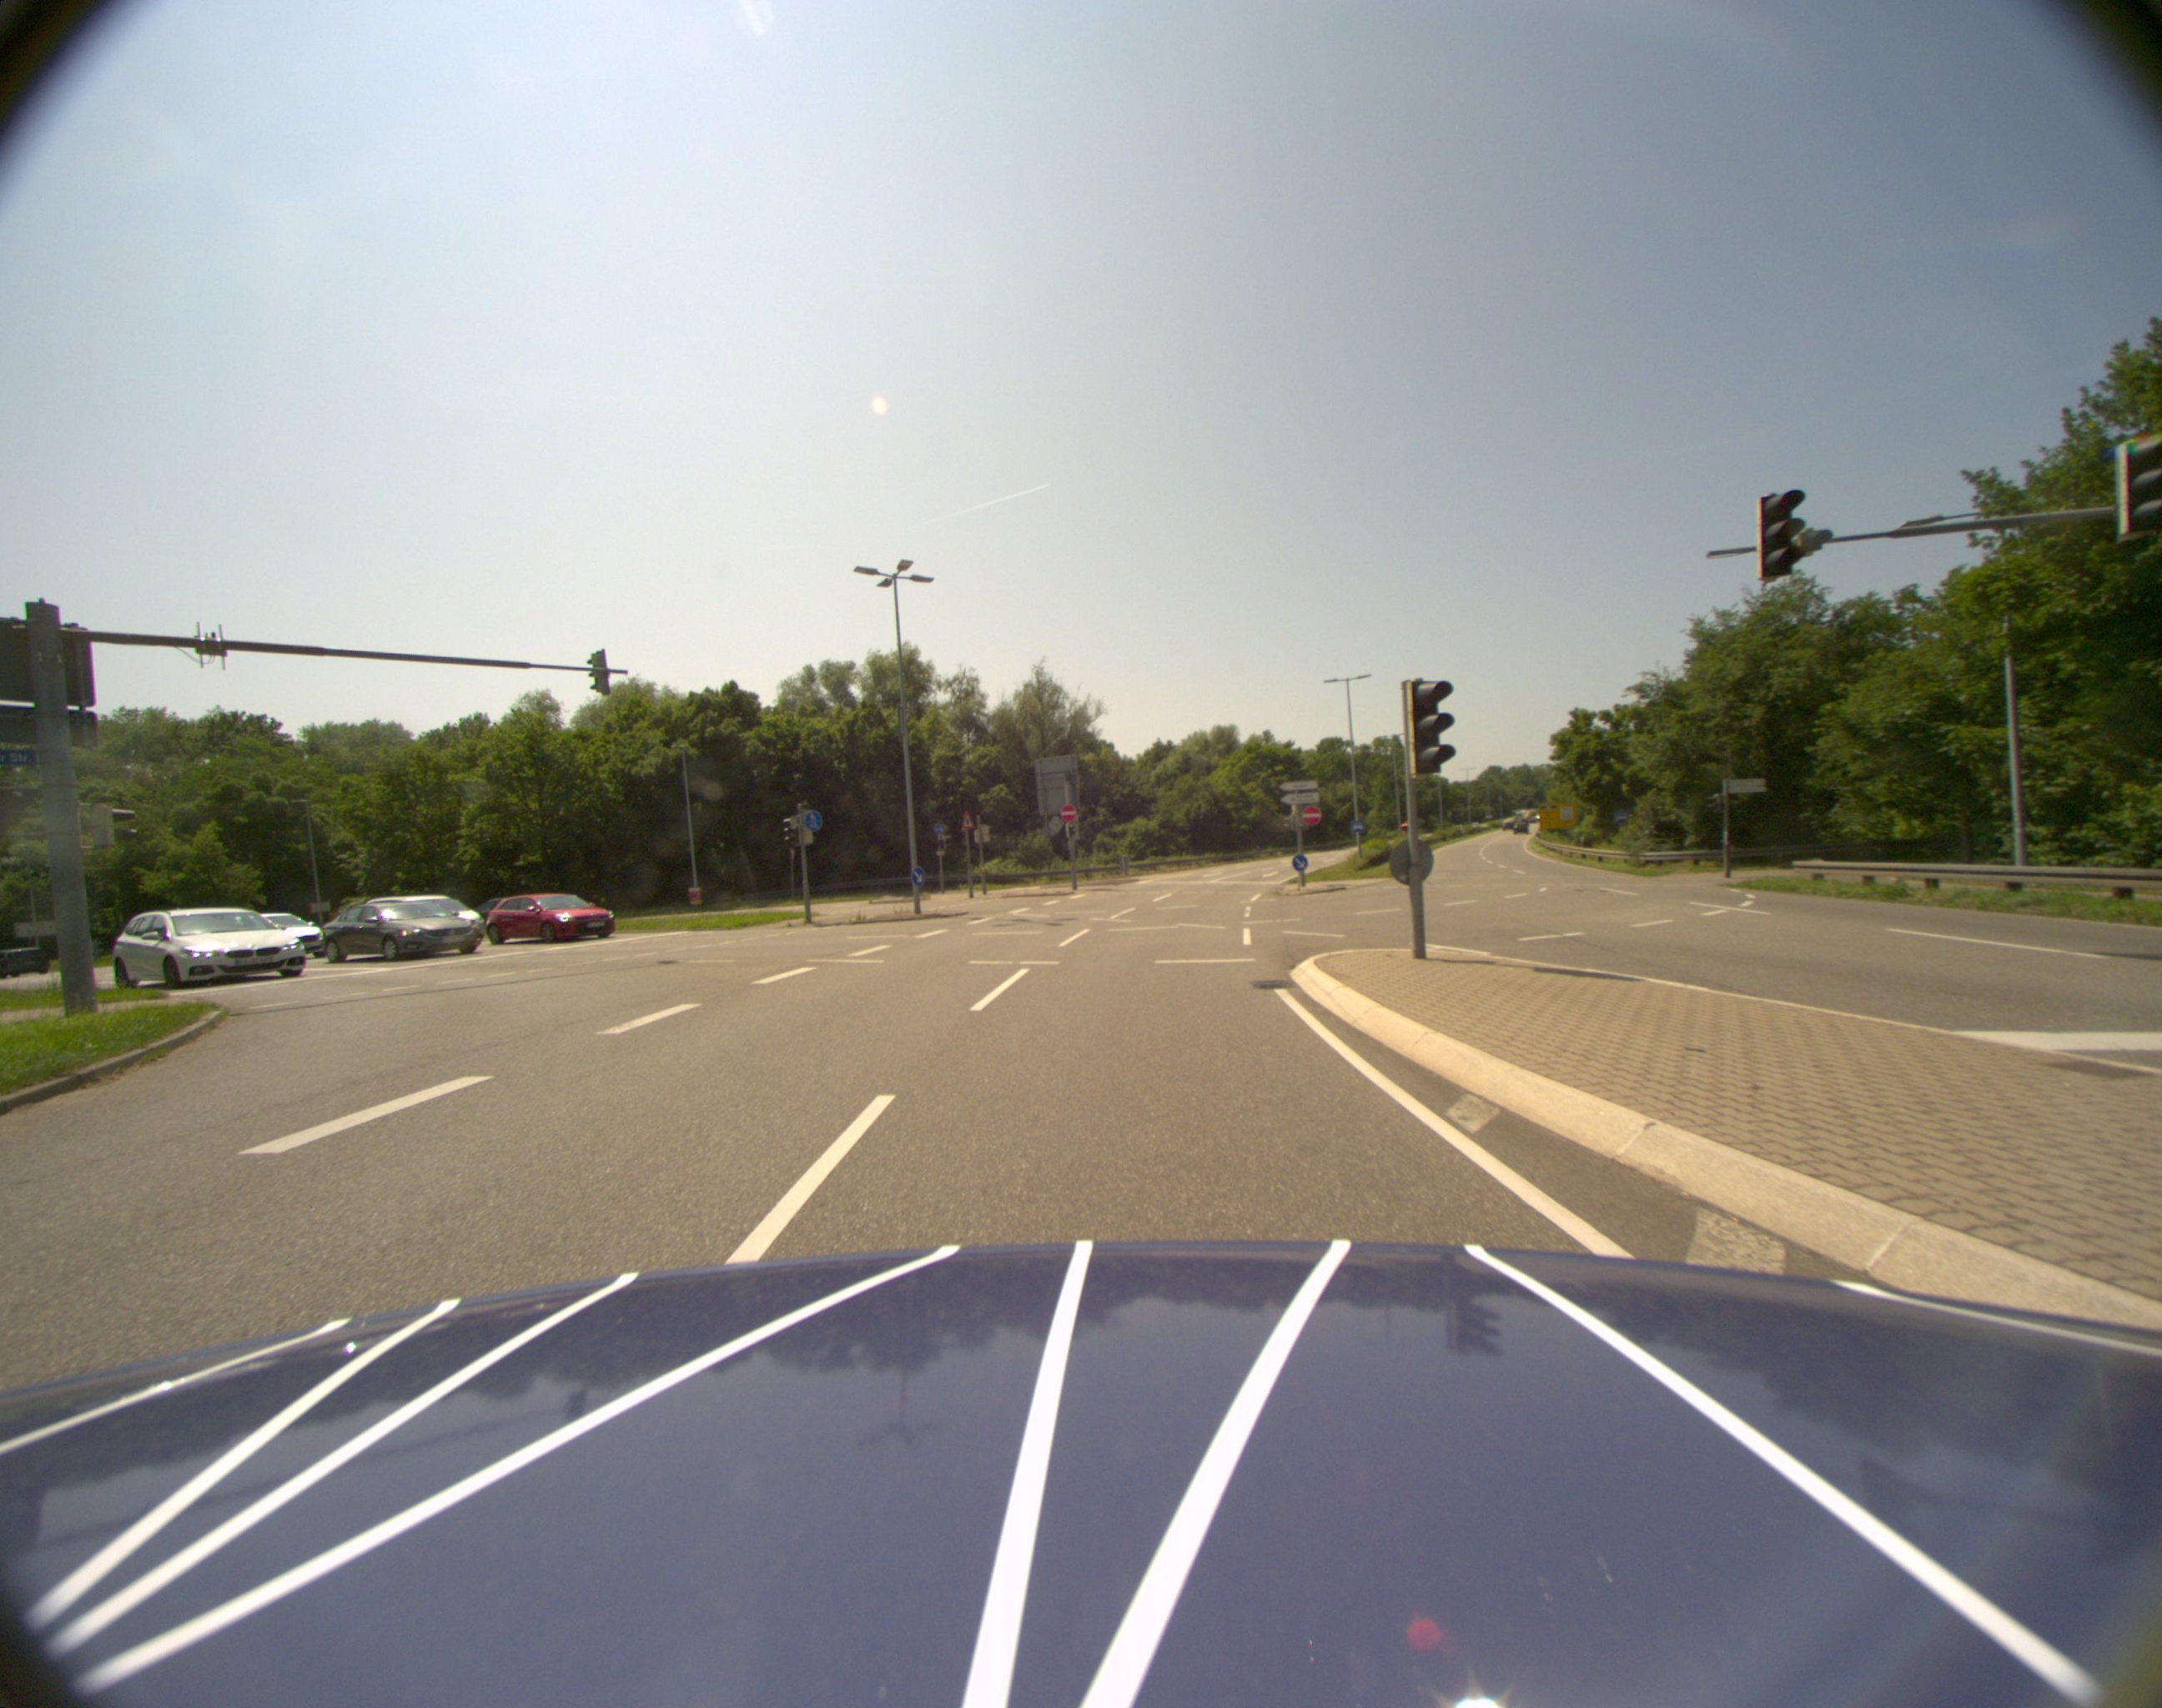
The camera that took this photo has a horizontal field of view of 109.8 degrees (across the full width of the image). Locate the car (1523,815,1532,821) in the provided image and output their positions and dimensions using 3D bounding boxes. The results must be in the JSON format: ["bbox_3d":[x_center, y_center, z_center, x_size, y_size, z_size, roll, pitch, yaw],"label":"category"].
[{"bbox_3d":[114.139,-9.174,194.189,1.584,1.477,3.556,-3,1,34],"label":"car"}]

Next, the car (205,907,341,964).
[{"bbox_3d":[-24.263,2.429,22.794,3.990,1.422,1.585,-3,1,26],"label":"car"}]

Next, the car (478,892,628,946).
[{"bbox_3d":[-15.602,1.912,22.430,4.176,1.346,1.757,-3,1,26],"label":"car"}]

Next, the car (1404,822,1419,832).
[{"bbox_3d":[57.347,-4.698,131.825,1.842,1.422,3.584,-3,1,34],"label":"car"}]

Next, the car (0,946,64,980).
[{"bbox_3d":[-65.113,6.702,46.743,3.686,1.740,1.696,-3,1,15],"label":"car"}]

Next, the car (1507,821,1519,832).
[{"bbox_3d":[74.850,-4.735,131.690,1.736,1.679,3.830,-3,1,31],"label":"car"}]

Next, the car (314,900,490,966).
[{"bbox_3d":[-17.597,2.020,19.684,4.176,1.415,1.871,-3,1,26],"label":"car"}]

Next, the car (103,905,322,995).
[{"bbox_3d":[-18.203,1.953,15.915,4.287,1.497,1.871,-3,1,26],"label":"car"}]

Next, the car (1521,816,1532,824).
[{"bbox_3d":[95.382,-7.279,162.615,1.822,1.644,3.818,-3,1,33],"label":"car"}]

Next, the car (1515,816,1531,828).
[{"bbox_3d":[63.308,-4.553,108.798,1.708,1.617,4.006,-3,1,27],"label":"car"}]

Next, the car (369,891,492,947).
[{"bbox_3d":[-22.131,2.212,25.863,3.599,1.642,1.584,-3,1,22],"label":"car"}]
